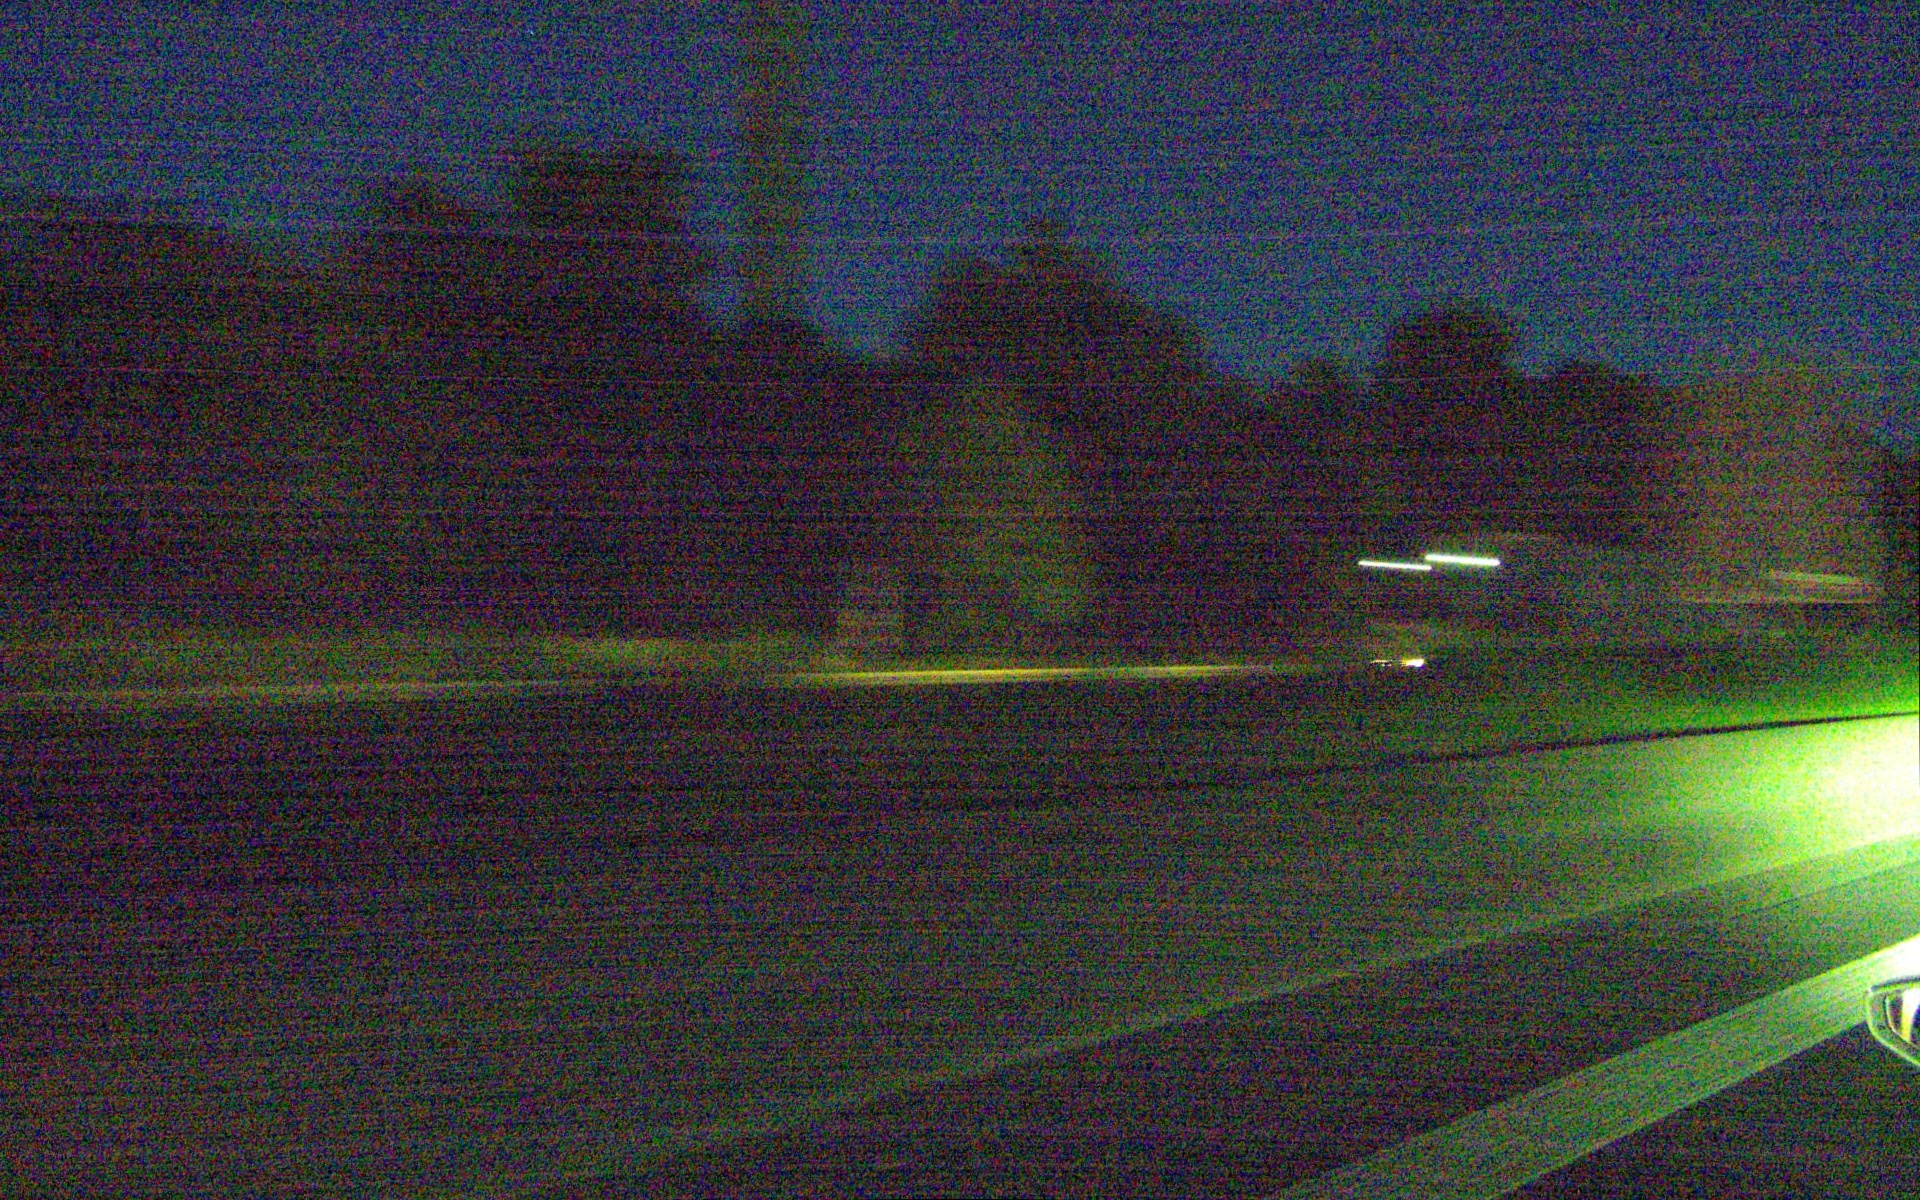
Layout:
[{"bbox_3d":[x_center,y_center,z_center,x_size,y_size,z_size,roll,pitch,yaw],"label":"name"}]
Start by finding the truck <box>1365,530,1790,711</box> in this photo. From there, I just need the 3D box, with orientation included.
[{"bbox_3d":[18.645,0.676,29.322,16.783,4.257,3.099,1,-3,-31],"label":"truck"}]
